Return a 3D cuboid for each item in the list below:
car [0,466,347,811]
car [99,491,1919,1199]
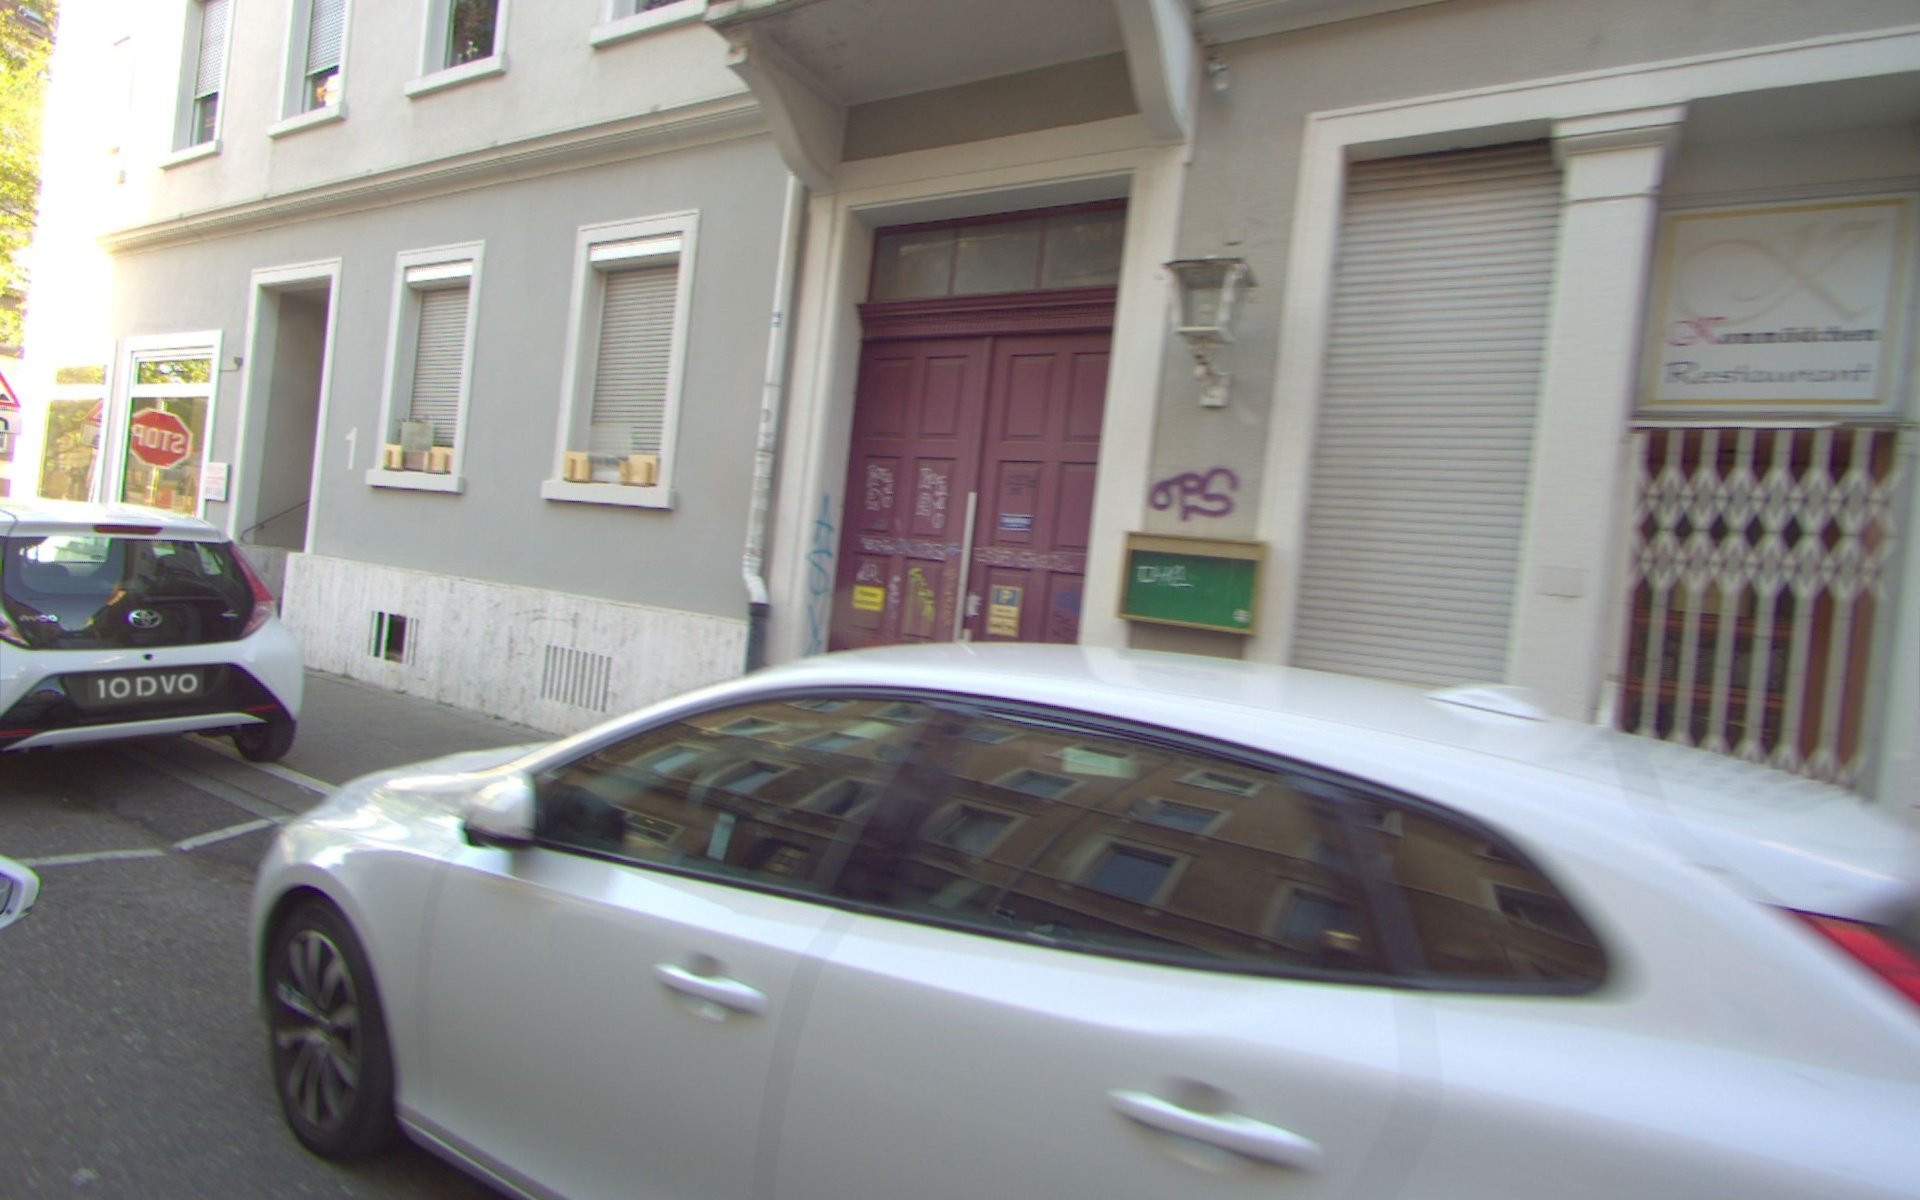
[{"bbox_3d":[-5.733,0.061,6.175,3.724,1.605,1.640,7,-1,30],"label":"car"},{"bbox_3d":[-0.154,0.741,2.510,4.119,1.528,1.683,7,-1,31],"label":"car"}]
